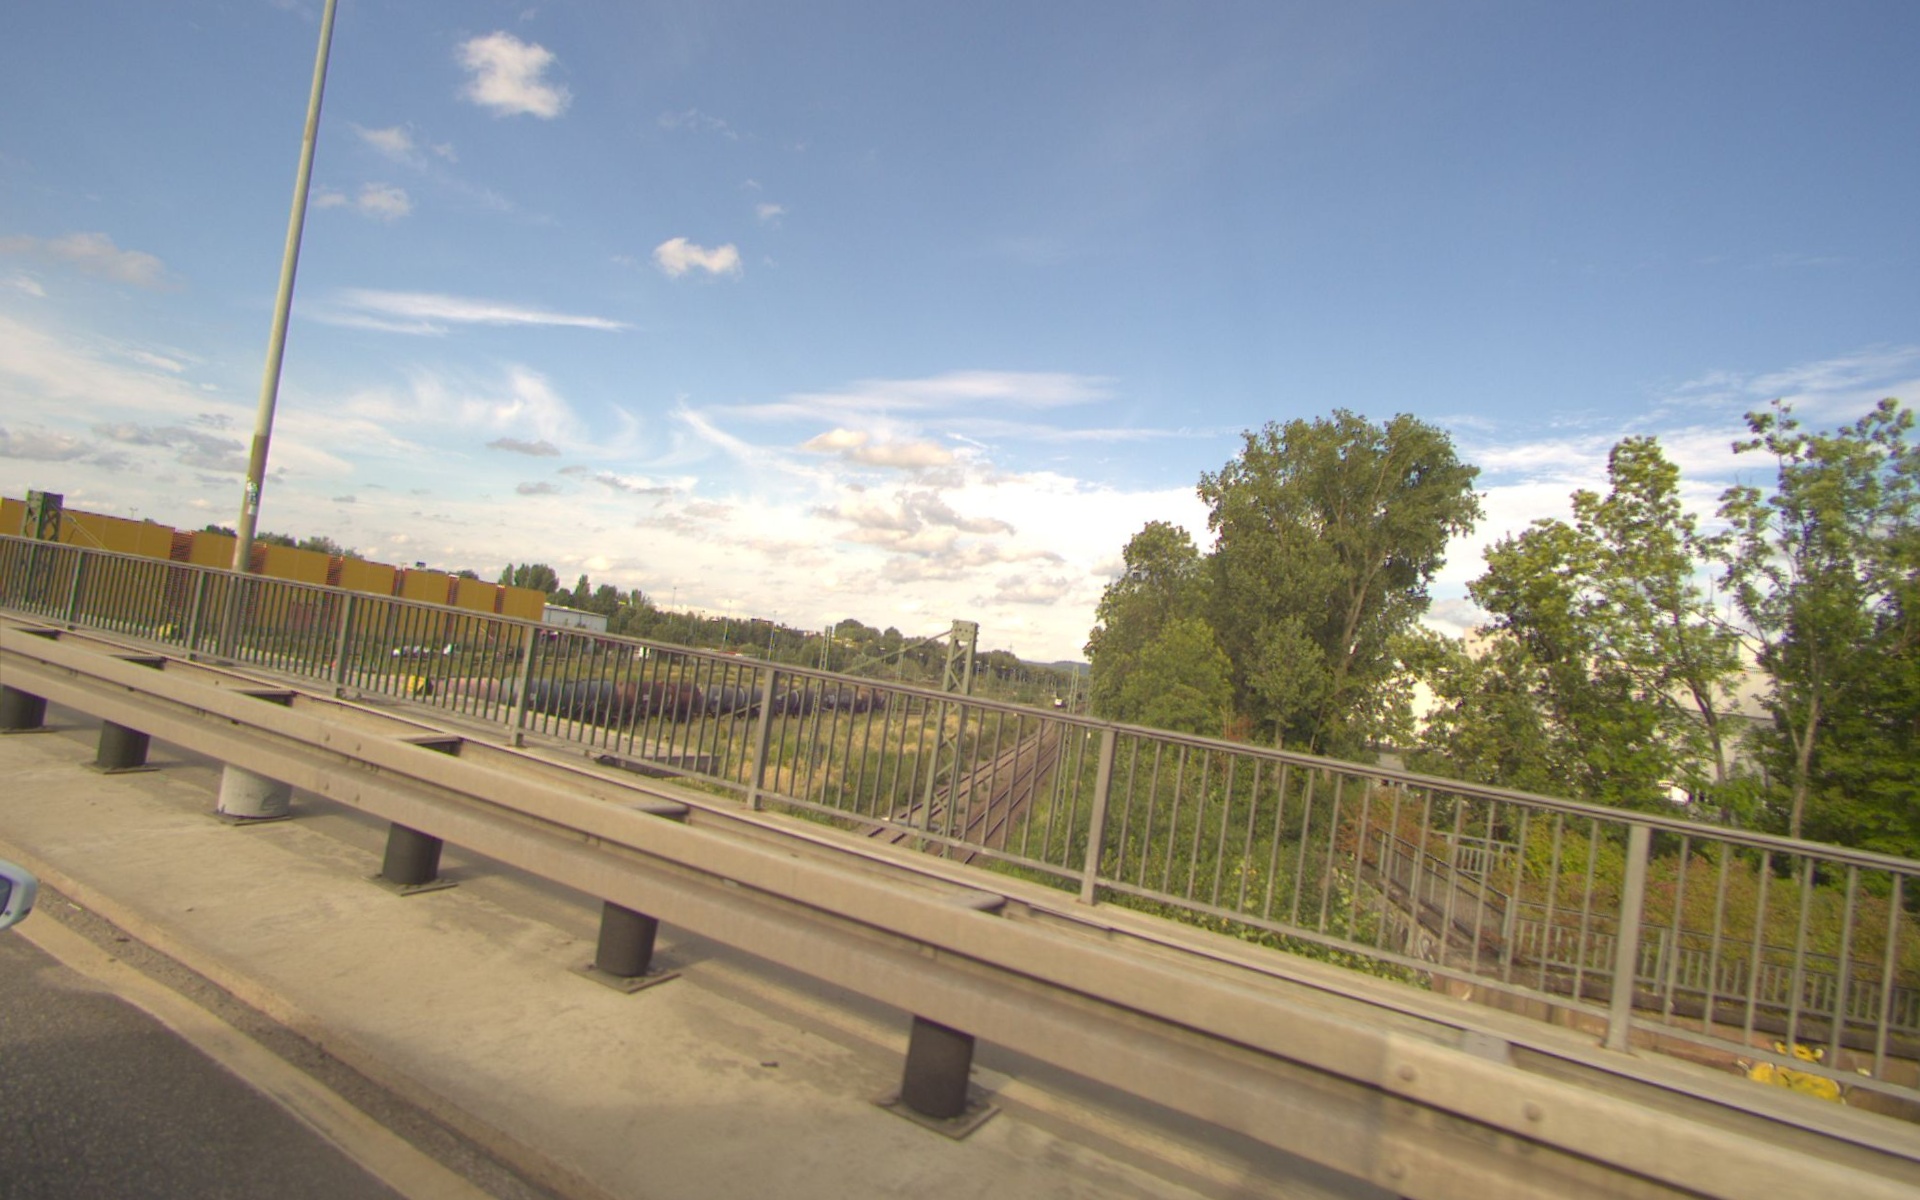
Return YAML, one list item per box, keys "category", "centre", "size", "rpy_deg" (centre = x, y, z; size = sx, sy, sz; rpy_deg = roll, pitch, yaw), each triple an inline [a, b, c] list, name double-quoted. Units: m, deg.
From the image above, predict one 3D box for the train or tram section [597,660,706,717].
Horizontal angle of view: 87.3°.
- category: "train or tram section"
  centre: [-30.734, 8.719, 101.611]
  size: [3.037, 4.767, 16.768]
  rpy_deg: [7, -2, 9]

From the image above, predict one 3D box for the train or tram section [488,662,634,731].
- category: "train or tram section"
  centre: [-33.184, 7.888, 85.152]
  size: [3.037, 4.767, 16.768]
  rpy_deg: [7, -2, 9]

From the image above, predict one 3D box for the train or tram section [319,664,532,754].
- category: "train or tram section"
  centre: [-35.597, 7.047, 68.627]
  size: [3.037, 4.767, 16.768]
  rpy_deg: [7, -2, 9]
